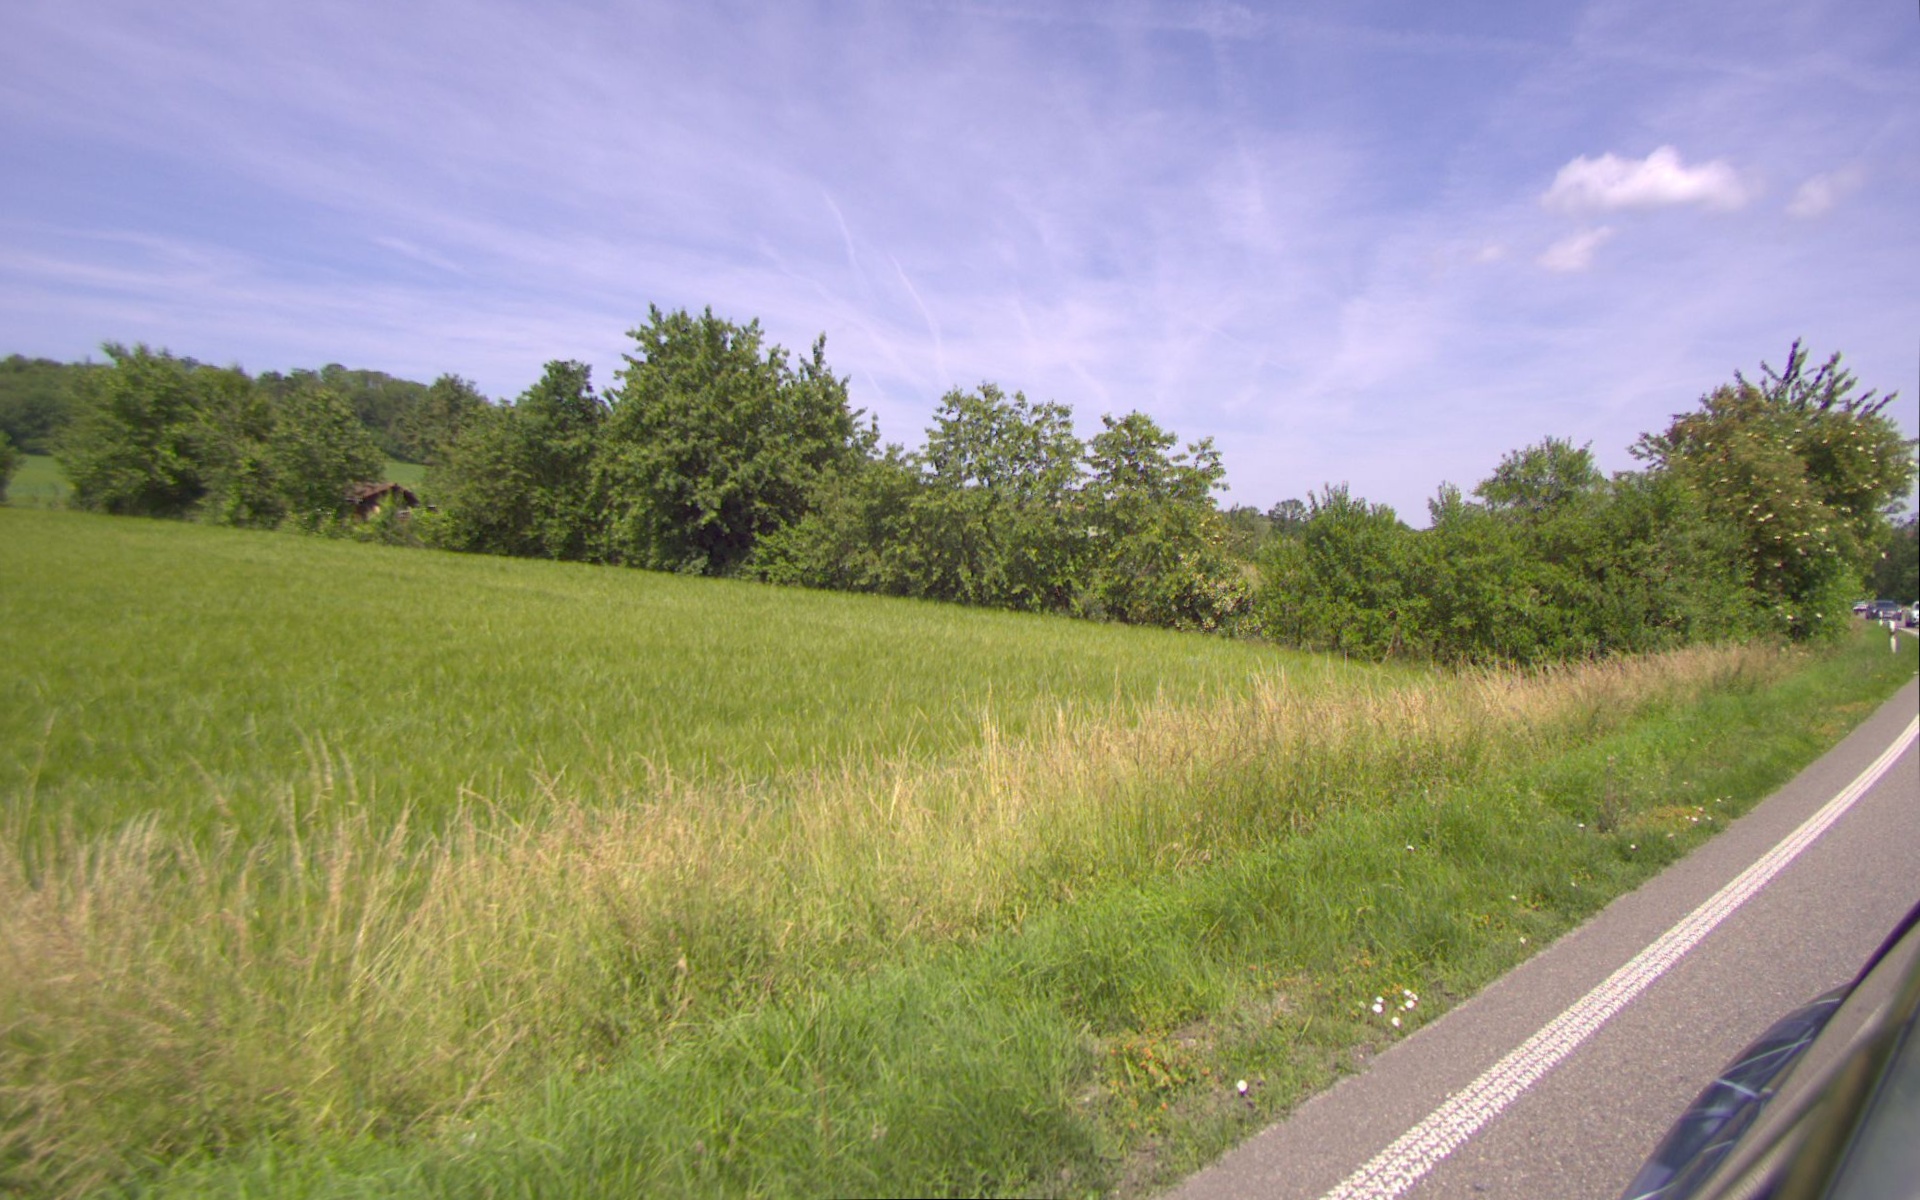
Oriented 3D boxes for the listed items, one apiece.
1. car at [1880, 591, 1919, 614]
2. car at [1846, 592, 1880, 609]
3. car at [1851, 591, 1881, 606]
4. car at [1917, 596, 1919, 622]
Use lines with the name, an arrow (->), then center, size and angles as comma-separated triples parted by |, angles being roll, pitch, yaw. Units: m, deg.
car -> 71.766, 0.152, 77.344 | 1.922, 1.467, 4.019 | 4, 5, 40
car -> 84.733, 0.036, 95.005 | 1.920, 1.467, 3.947 | 4, 3, 37
car -> 96.901, -0.131, 108.299 | 1.920, 1.467, 3.947 | 4, 3, 37
car -> 55.645, 0.510, 57.351 | 1.923, 1.468, 3.939 | 1, 0, 42
